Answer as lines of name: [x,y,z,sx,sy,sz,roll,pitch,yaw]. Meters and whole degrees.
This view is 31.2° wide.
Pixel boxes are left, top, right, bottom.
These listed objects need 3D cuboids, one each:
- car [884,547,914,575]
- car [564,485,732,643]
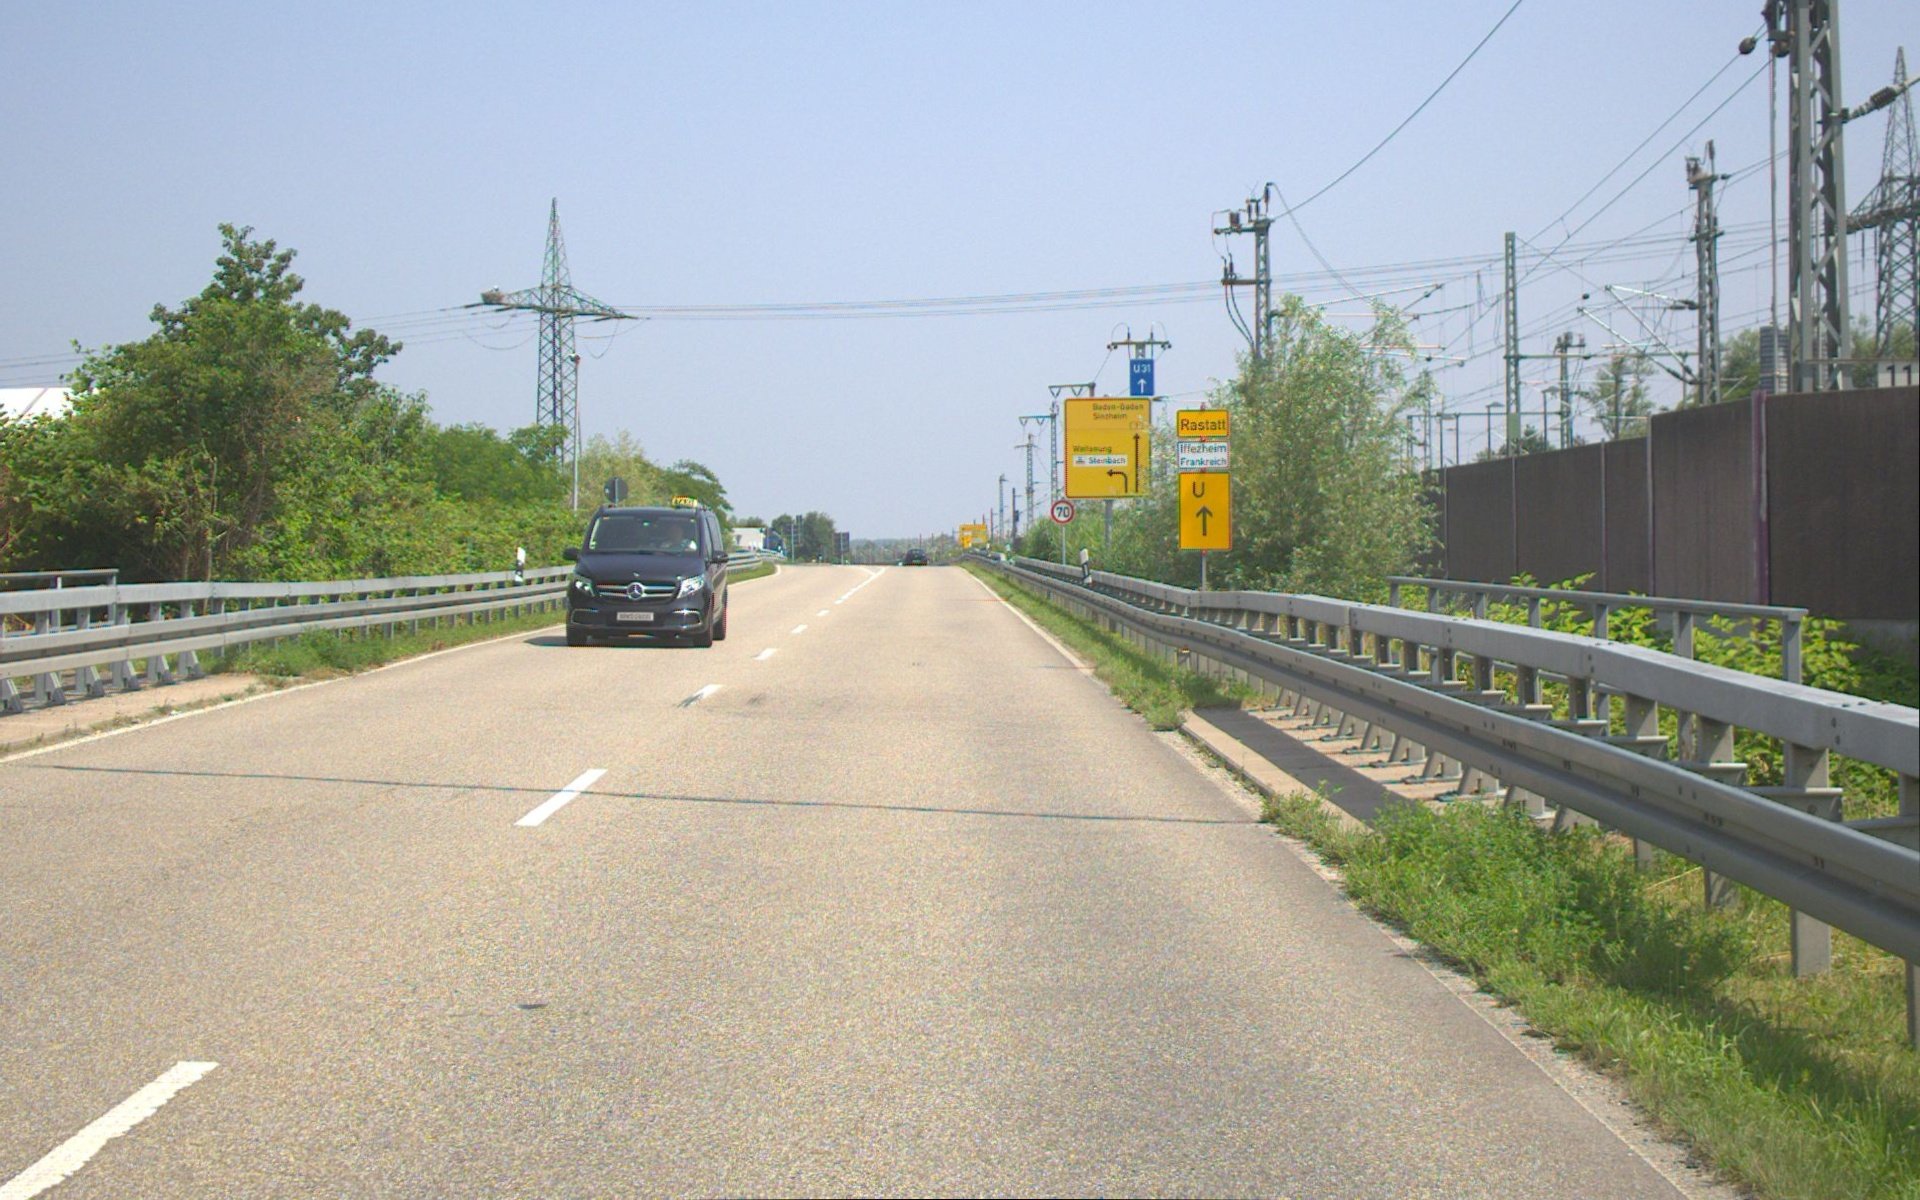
car: [-4.566,-2.921,256.441,1.993,2.007,4.001,0,1,-4]
car: [-4.221,-0.521,47.239,1.893,2.007,5.370,1,1,-1]
